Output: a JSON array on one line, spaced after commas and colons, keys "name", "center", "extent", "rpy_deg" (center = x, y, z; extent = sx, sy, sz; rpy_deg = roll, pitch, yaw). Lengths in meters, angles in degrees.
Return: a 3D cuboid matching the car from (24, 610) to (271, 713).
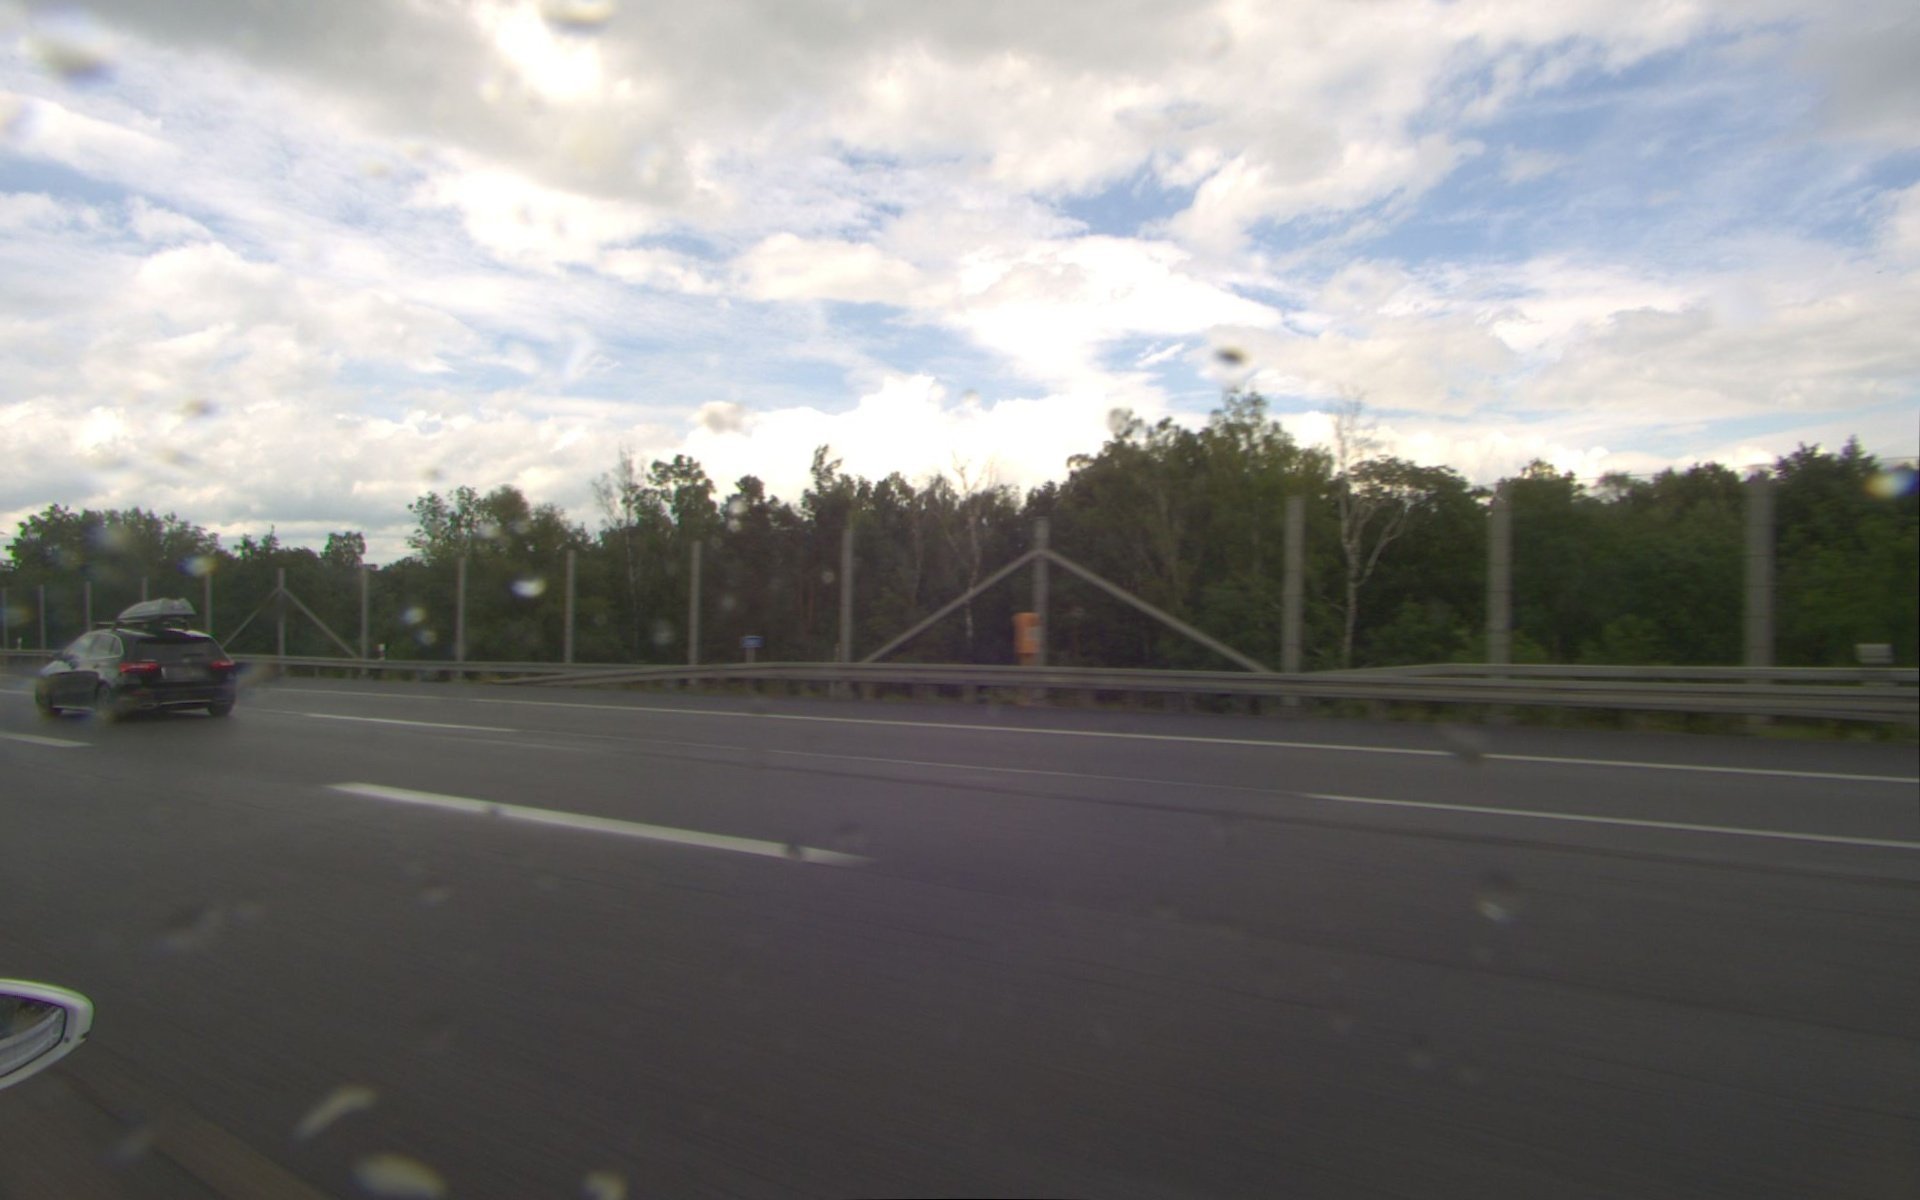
[{"name": "car", "center": [-14.673, 1.041, 17.997], "extent": [4.996, 1.626, 2.100], "rpy_deg": [-1, -2, 34]}]
